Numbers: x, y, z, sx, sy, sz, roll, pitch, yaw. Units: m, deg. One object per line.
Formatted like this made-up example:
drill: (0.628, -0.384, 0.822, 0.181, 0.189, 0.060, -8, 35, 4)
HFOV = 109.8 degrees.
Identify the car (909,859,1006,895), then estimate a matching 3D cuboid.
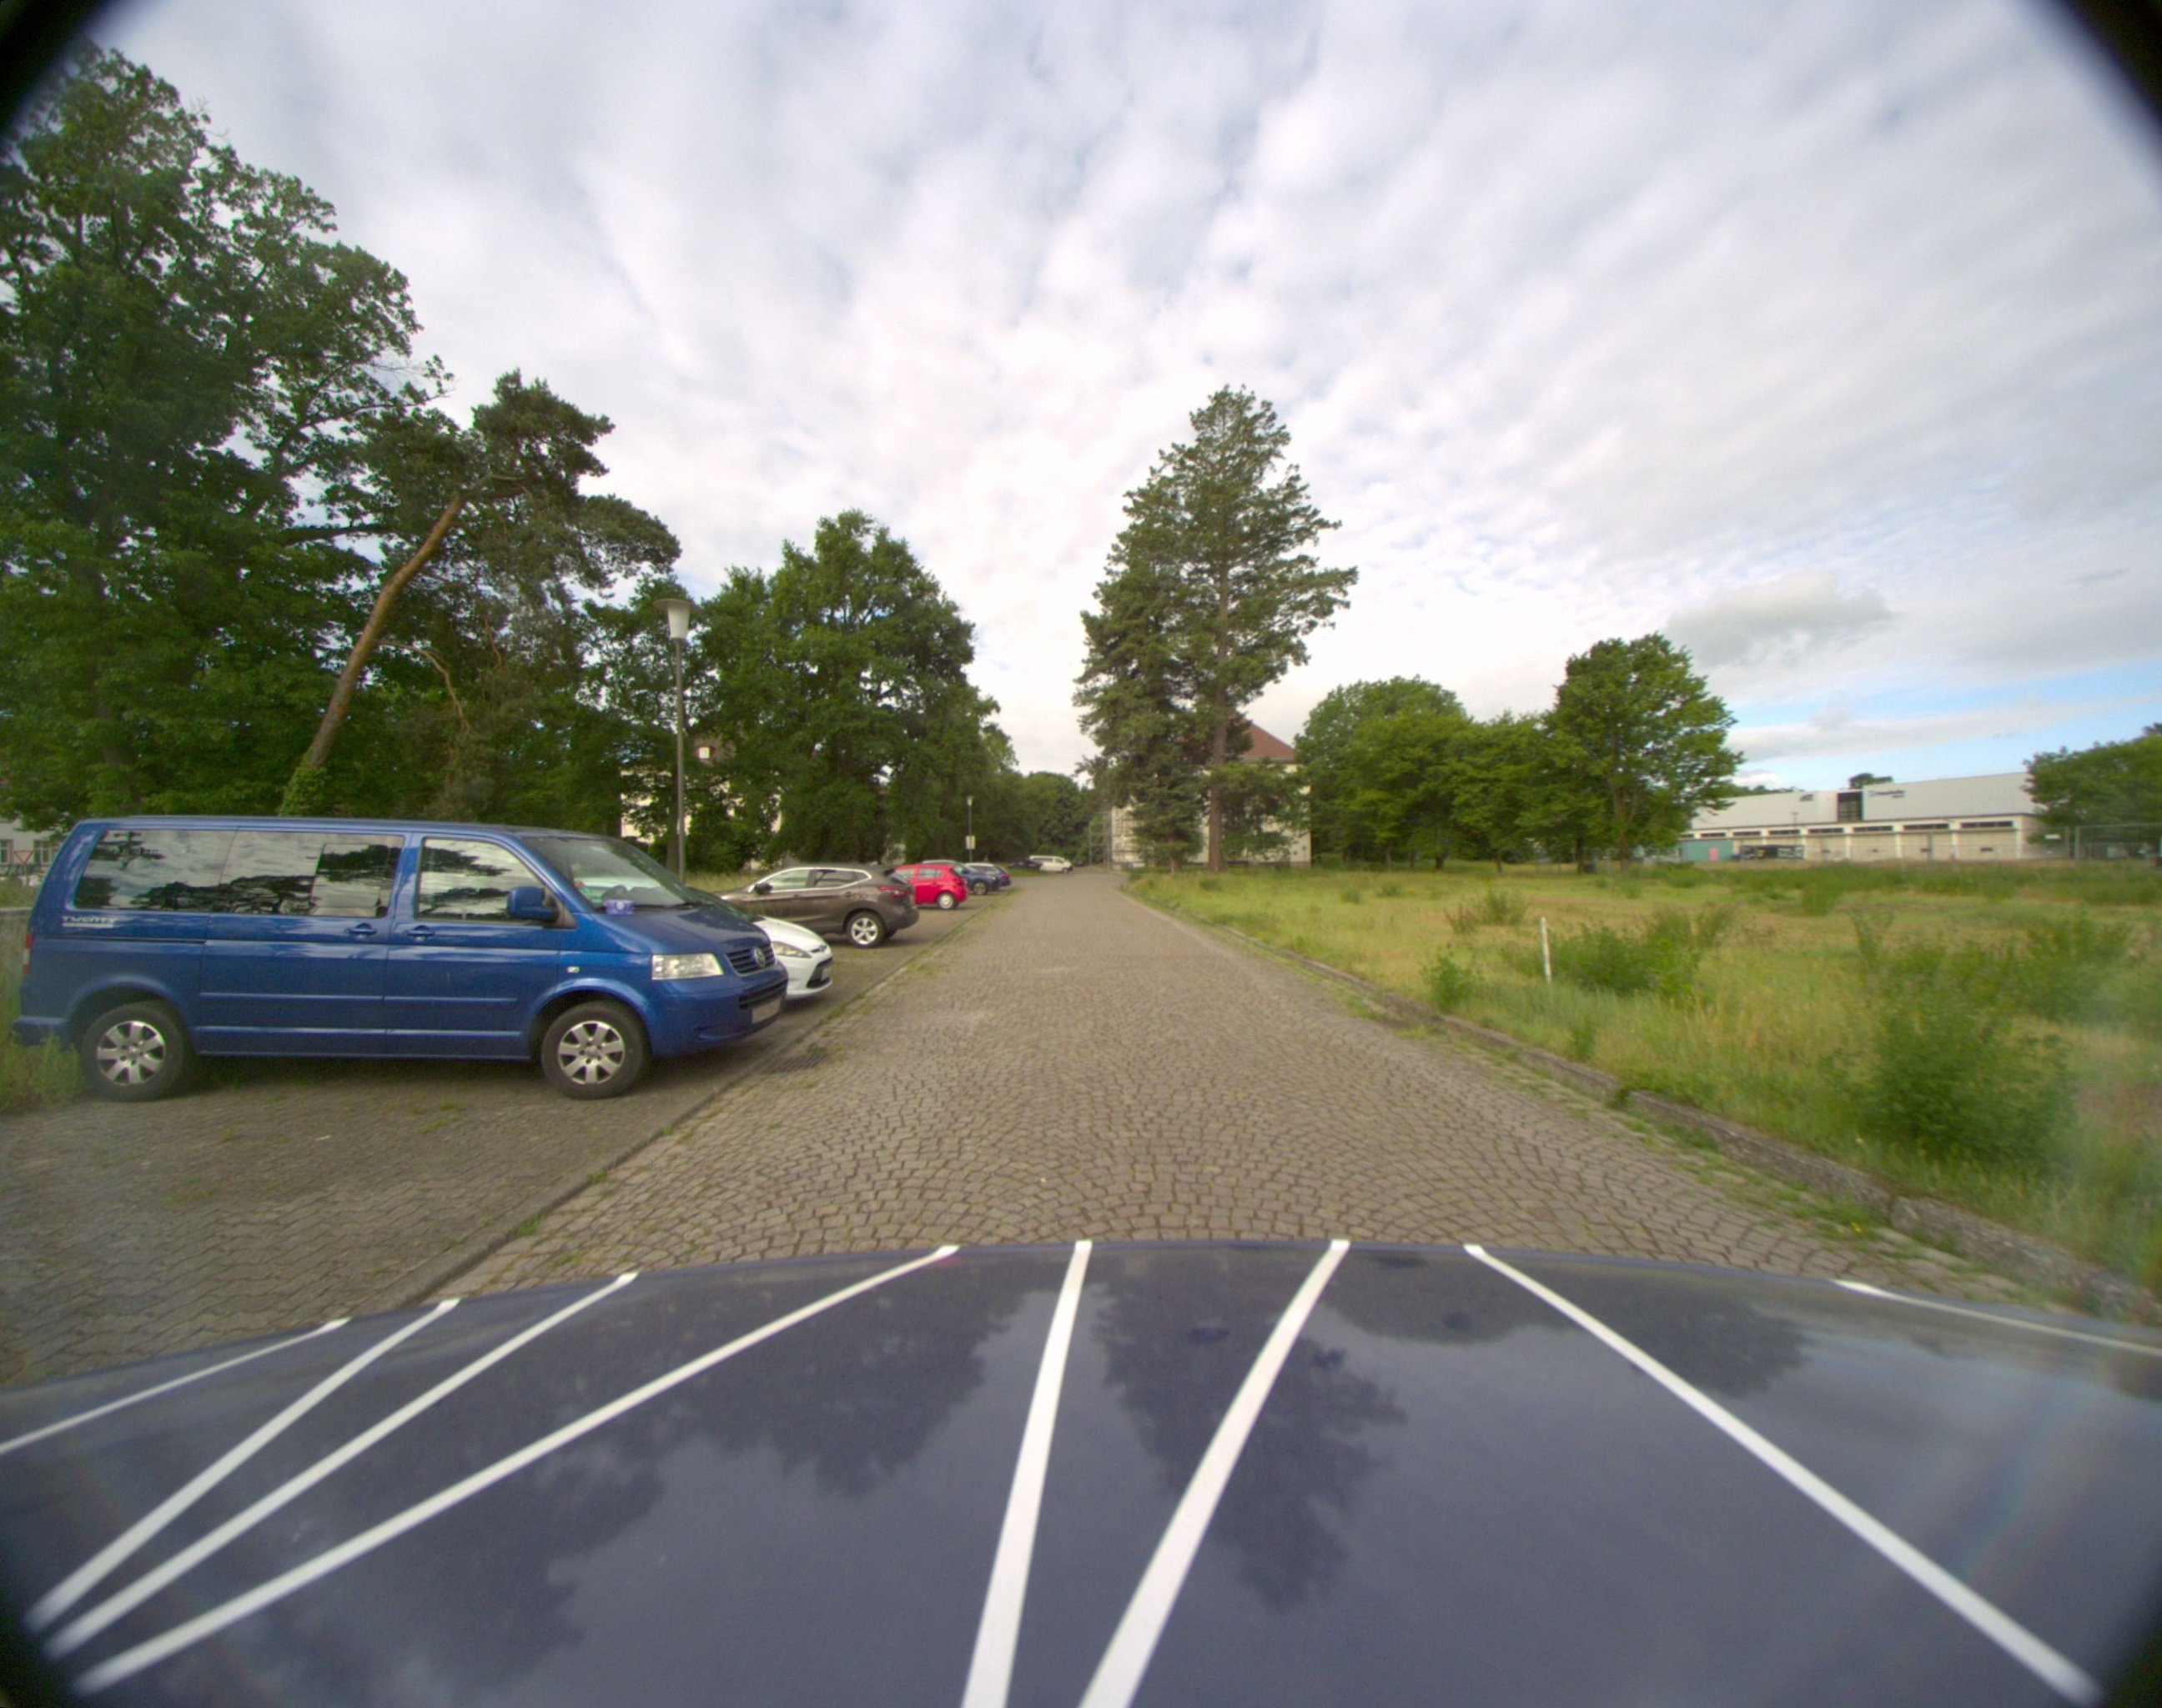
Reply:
car: (-5.701, 1.056, 35.490, 4.257, 1.613, 1.886, 0, 0, -3)

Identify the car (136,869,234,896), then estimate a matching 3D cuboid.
car: (-60.043, 1.886, 51.044, 1.653, 1.543, 4.079, -2, 0, 0)

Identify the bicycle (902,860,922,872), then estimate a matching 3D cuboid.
bicycle: (-16.272, 1.191, 73.216, 1.860, 1.163, 0.488, 1, 0, -11)

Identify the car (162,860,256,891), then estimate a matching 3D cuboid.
car: (-70.014, 1.692, 61.144, 1.923, 2.290, 4.939, -1, 0, -1)

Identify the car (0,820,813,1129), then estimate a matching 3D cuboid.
car: (-4.857, 0.781, 5.994, 4.809, 1.992, 1.965, 0, 0, -4)

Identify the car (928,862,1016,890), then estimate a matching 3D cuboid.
car: (-5.724, 1.137, 40.232, 4.368, 1.430, 1.926, 0, 0, 0)

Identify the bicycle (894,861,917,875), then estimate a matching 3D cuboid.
bicycle: (-15.857, 1.269, 68.660, 1.862, 1.163, 0.487, -2, 1, -27)

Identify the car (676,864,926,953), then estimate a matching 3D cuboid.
car: (-5.298, 1.004, 14.887, 4.215, 1.585, 1.952, 0, 0, -4)

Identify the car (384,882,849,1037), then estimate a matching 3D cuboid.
car: (-4.906, 1.083, 8.541, 4.110, 1.470, 1.721, 0, 0, -5)

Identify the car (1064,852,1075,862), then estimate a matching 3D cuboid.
car: (-2.332, 0.569, 155.346, 1.963, 2.002, 4.259, 0, 0, -3)

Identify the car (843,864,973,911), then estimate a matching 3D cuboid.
car: (-5.655, 1.072, 25.185, 3.934, 1.488, 1.784, 0, 0, -3)

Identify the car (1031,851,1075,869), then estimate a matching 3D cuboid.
car: (-3.246, 0.685, 89.123, 5.150, 2.002, 1.999, 0, 1, -2)

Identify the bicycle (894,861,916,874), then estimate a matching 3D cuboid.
bicycle: (-16.223, 1.249, 69.929, 1.861, 1.163, 0.487, -2, 1, -23)

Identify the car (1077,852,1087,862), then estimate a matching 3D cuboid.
car: (0.197, 0.532, 155.666, 1.963, 2.002, 4.259, 0, 0, -3)
